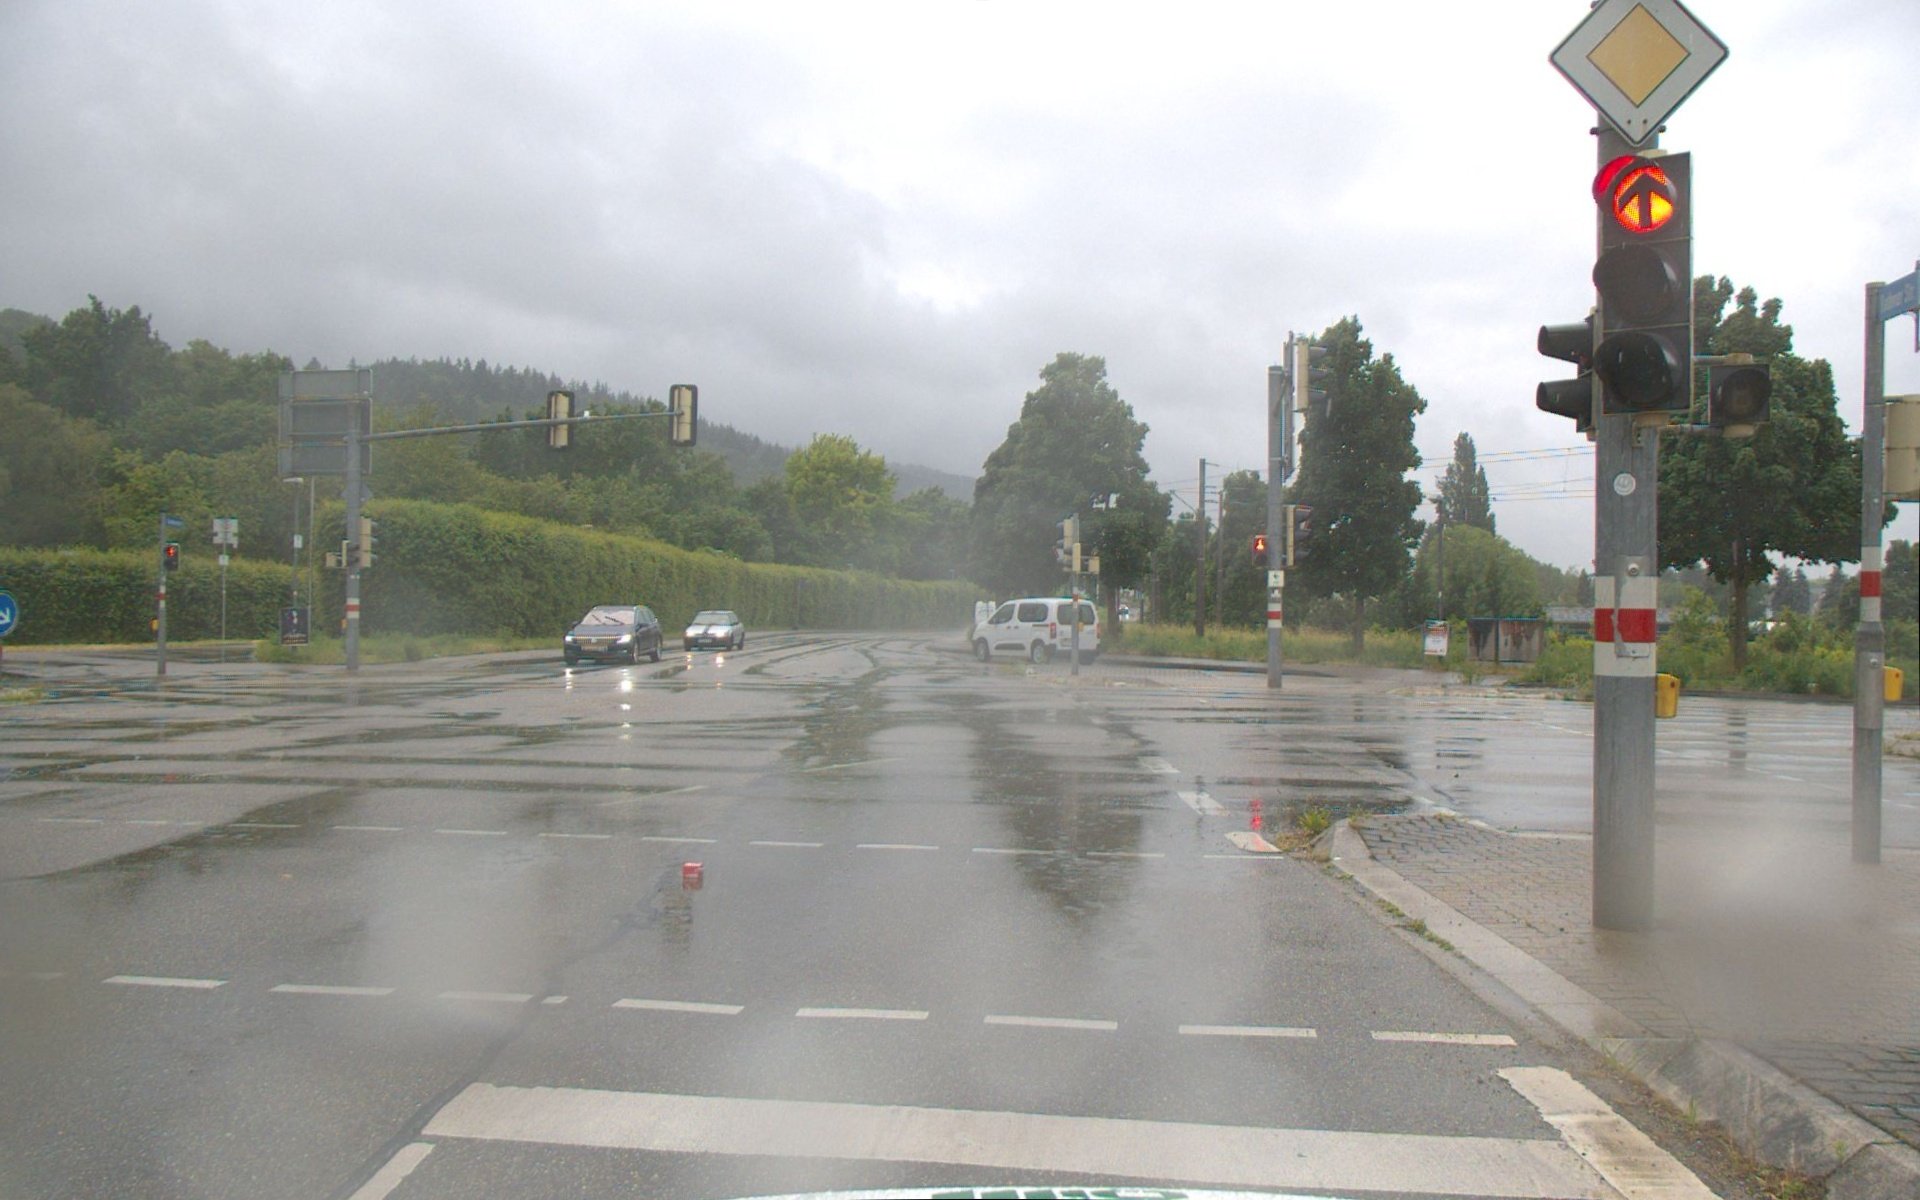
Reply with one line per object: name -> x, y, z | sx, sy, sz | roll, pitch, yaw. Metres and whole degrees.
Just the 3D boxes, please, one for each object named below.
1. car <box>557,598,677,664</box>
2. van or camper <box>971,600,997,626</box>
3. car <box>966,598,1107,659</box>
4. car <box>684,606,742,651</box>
car -> -8.958, 0.789, 43.604 | 1.839, 1.601, 4.647 | -1, 0, 4
van or camper -> 2.058, 1.090, 142.987 | 2.109, 2.207, 4.864 | 1, 0, 0
car -> 2.068, 0.745, 45.905 | 1.800, 1.581, 4.299 | 0, 0, -33
car -> -8.730, 0.992, 58.621 | 1.526, 1.507, 3.360 | 1, 0, 0
